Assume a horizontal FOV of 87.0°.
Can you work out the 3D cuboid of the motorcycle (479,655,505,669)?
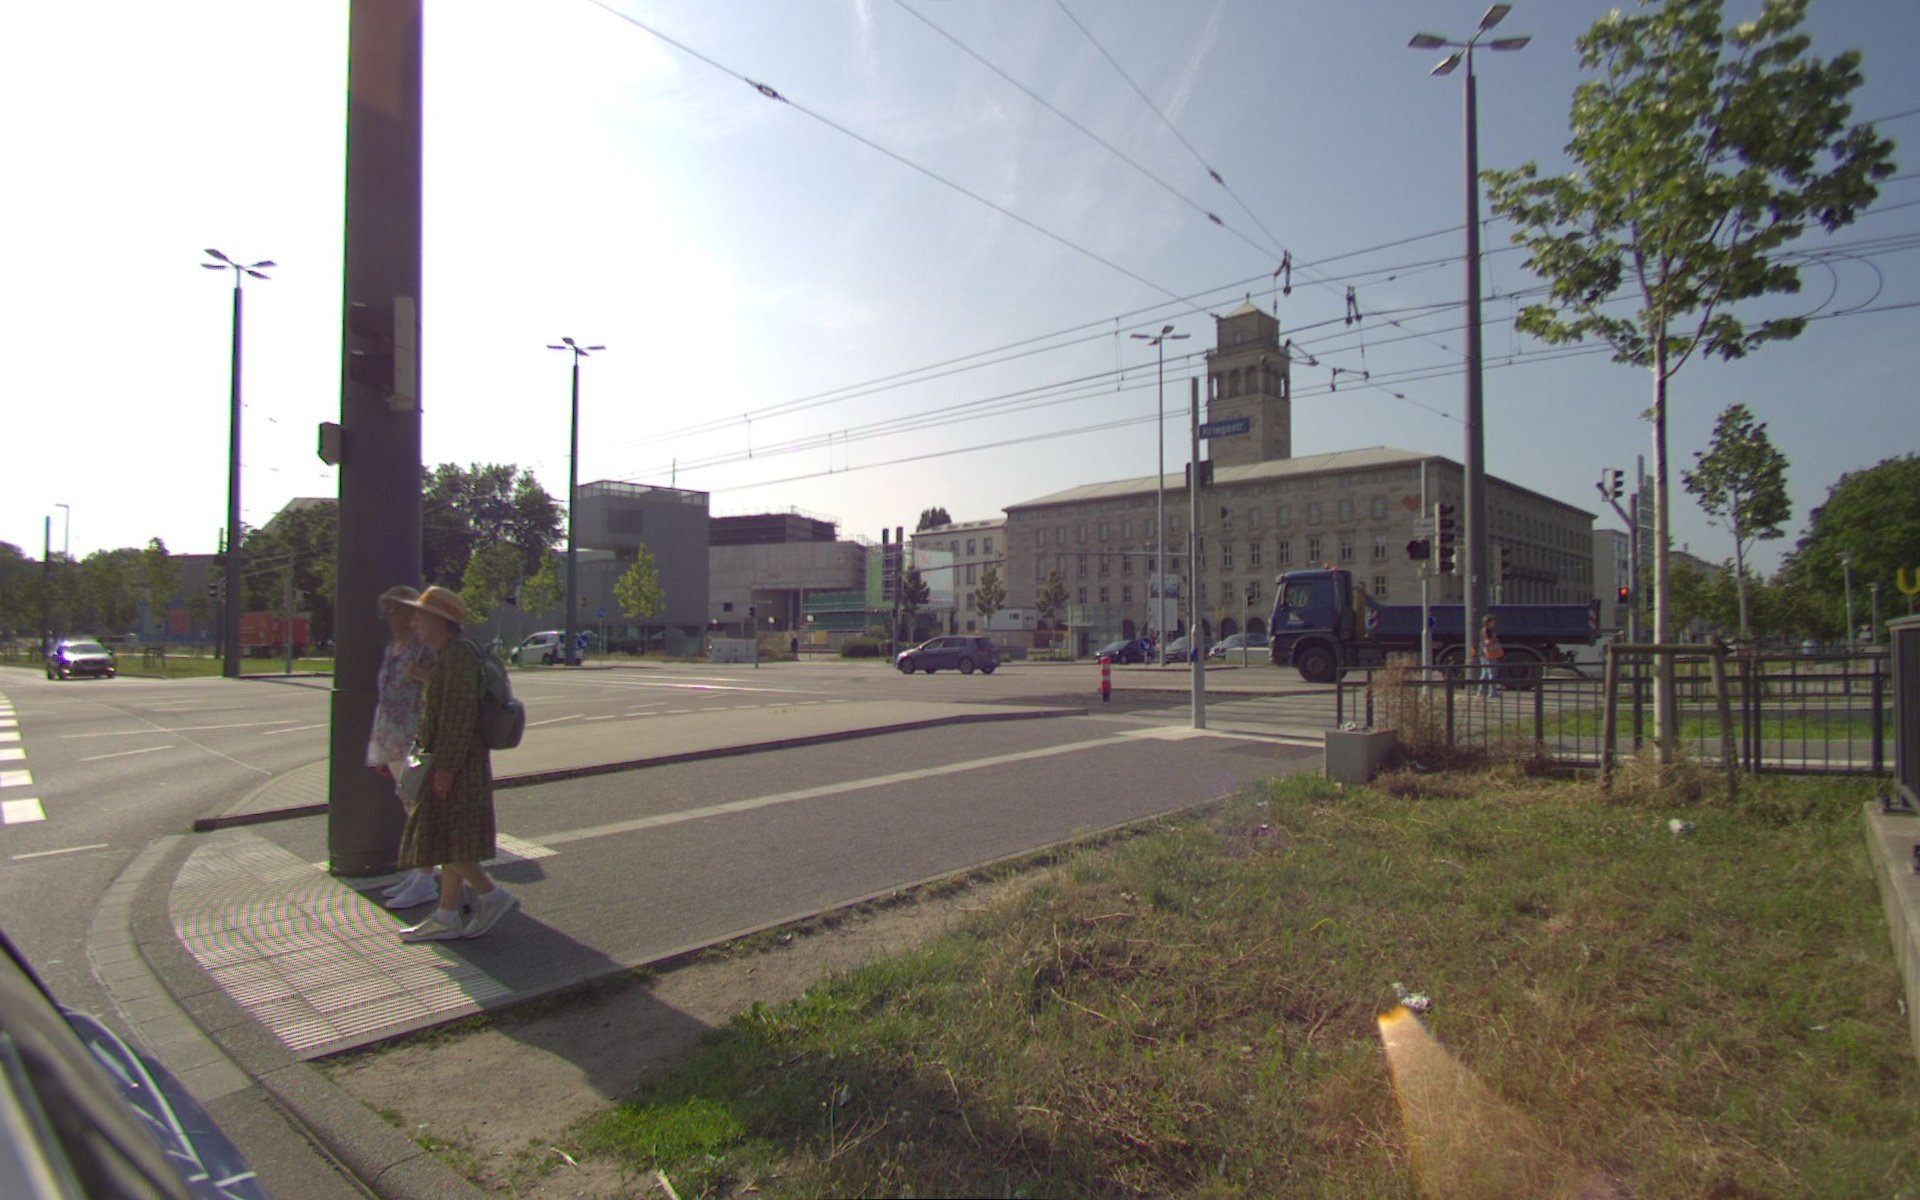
[{"bbox_3d":[-27.909,3.702,60.314,1.817,0.839,0.515,-2,-3,33],"label":"motorcycle"}]

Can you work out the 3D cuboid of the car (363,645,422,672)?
[{"bbox_3d":[-34.755,3.568,61.971,3.992,1.614,1.625,-3,-3,36],"label":"car"}]

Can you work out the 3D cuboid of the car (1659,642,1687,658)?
[{"bbox_3d":[76.944,5.366,109.173,1.888,1.732,3.943,-3,-4,43],"label":"car"}]

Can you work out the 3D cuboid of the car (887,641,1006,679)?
[{"bbox_3d":[-0.539,2.235,37.985,4.413,1.357,1.582,-3,-3,35],"label":"car"}]

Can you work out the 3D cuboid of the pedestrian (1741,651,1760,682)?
[{"bbox_3d":[31.778,2.680,40.681,0.538,1.226,0.438,-2,-1,42],"label":"pedestrian"}]

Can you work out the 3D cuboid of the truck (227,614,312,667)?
[{"bbox_3d":[-53.526,3.167,78.303,10.417,3.838,2.940,-3,-3,41],"label":"truck"}]

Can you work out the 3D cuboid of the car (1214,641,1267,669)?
[{"bbox_3d":[15.217,2.951,54.790,1.568,1.431,3.298,-3,-3,39],"label":"car"}]

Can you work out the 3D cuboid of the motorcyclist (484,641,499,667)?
[{"bbox_3d":[-27.917,3.223,60.330,0.859,1.539,0.387,-2,-3,33],"label":"motorcyclist"}]

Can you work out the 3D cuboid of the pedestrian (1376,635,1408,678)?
[{"bbox_3d":[17.594,2.297,41.233,1.006,1.747,0.554,-3,-3,44],"label":"pedestrian"}]

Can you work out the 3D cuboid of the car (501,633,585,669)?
[{"bbox_3d":[-21.294,2.600,51.611,4.502,1.802,1.603,-2,-3,32],"label":"car"}]

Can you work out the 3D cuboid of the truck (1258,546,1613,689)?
[{"bbox_3d":[13.519,0.640,29.293,8.862,3.614,2.997,-2,-3,33],"label":"truck"}]

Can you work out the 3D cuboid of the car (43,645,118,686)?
[{"bbox_3d":[-34.055,2.522,39.146,3.867,1.443,1.686,-3,-1,41],"label":"car"}]

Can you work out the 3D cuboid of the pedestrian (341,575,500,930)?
[{"bbox_3d":[-2.775,0.732,5.197,0.777,1.662,0.463,-3,-3,40],"label":"pedestrian"}]

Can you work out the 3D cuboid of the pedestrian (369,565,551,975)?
[{"bbox_3d":[-2.257,0.706,4.563,0.777,1.662,0.463,-3,-3,40],"label":"pedestrian"}]

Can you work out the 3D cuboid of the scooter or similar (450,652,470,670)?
[{"bbox_3d":[-31.514,3.838,63.748,1.380,1.155,0.534,-2,-3,35],"label":"scooter or similar"}]

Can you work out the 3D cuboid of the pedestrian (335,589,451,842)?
[{"bbox_3d":[-3.991,0.777,7.116,0.777,1.662,0.463,-3,-3,40],"label":"pedestrian"}]

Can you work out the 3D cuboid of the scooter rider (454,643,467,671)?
[{"bbox_3d":[-31.447,3.582,63.731,0.548,1.711,0.532,-2,-3,35],"label":"scooter rider"}]

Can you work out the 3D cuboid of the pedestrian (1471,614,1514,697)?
[{"bbox_3d":[11.078,1.150,21.060,0.365,1.689,0.642,1,-3,-33],"label":"pedestrian"}]

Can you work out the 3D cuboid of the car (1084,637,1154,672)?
[{"bbox_3d":[9.392,3.189,59.662,3.938,2.029,2.003,2,-3,-41],"label":"car"}]

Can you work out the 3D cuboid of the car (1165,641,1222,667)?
[{"bbox_3d":[13.139,2.998,56.838,1.708,1.391,3.606,-3,-3,39],"label":"car"}]

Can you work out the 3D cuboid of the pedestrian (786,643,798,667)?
[{"bbox_3d":[-11.691,3.822,70.462,0.538,1.710,0.598,-3,-4,44],"label":"pedestrian"}]
